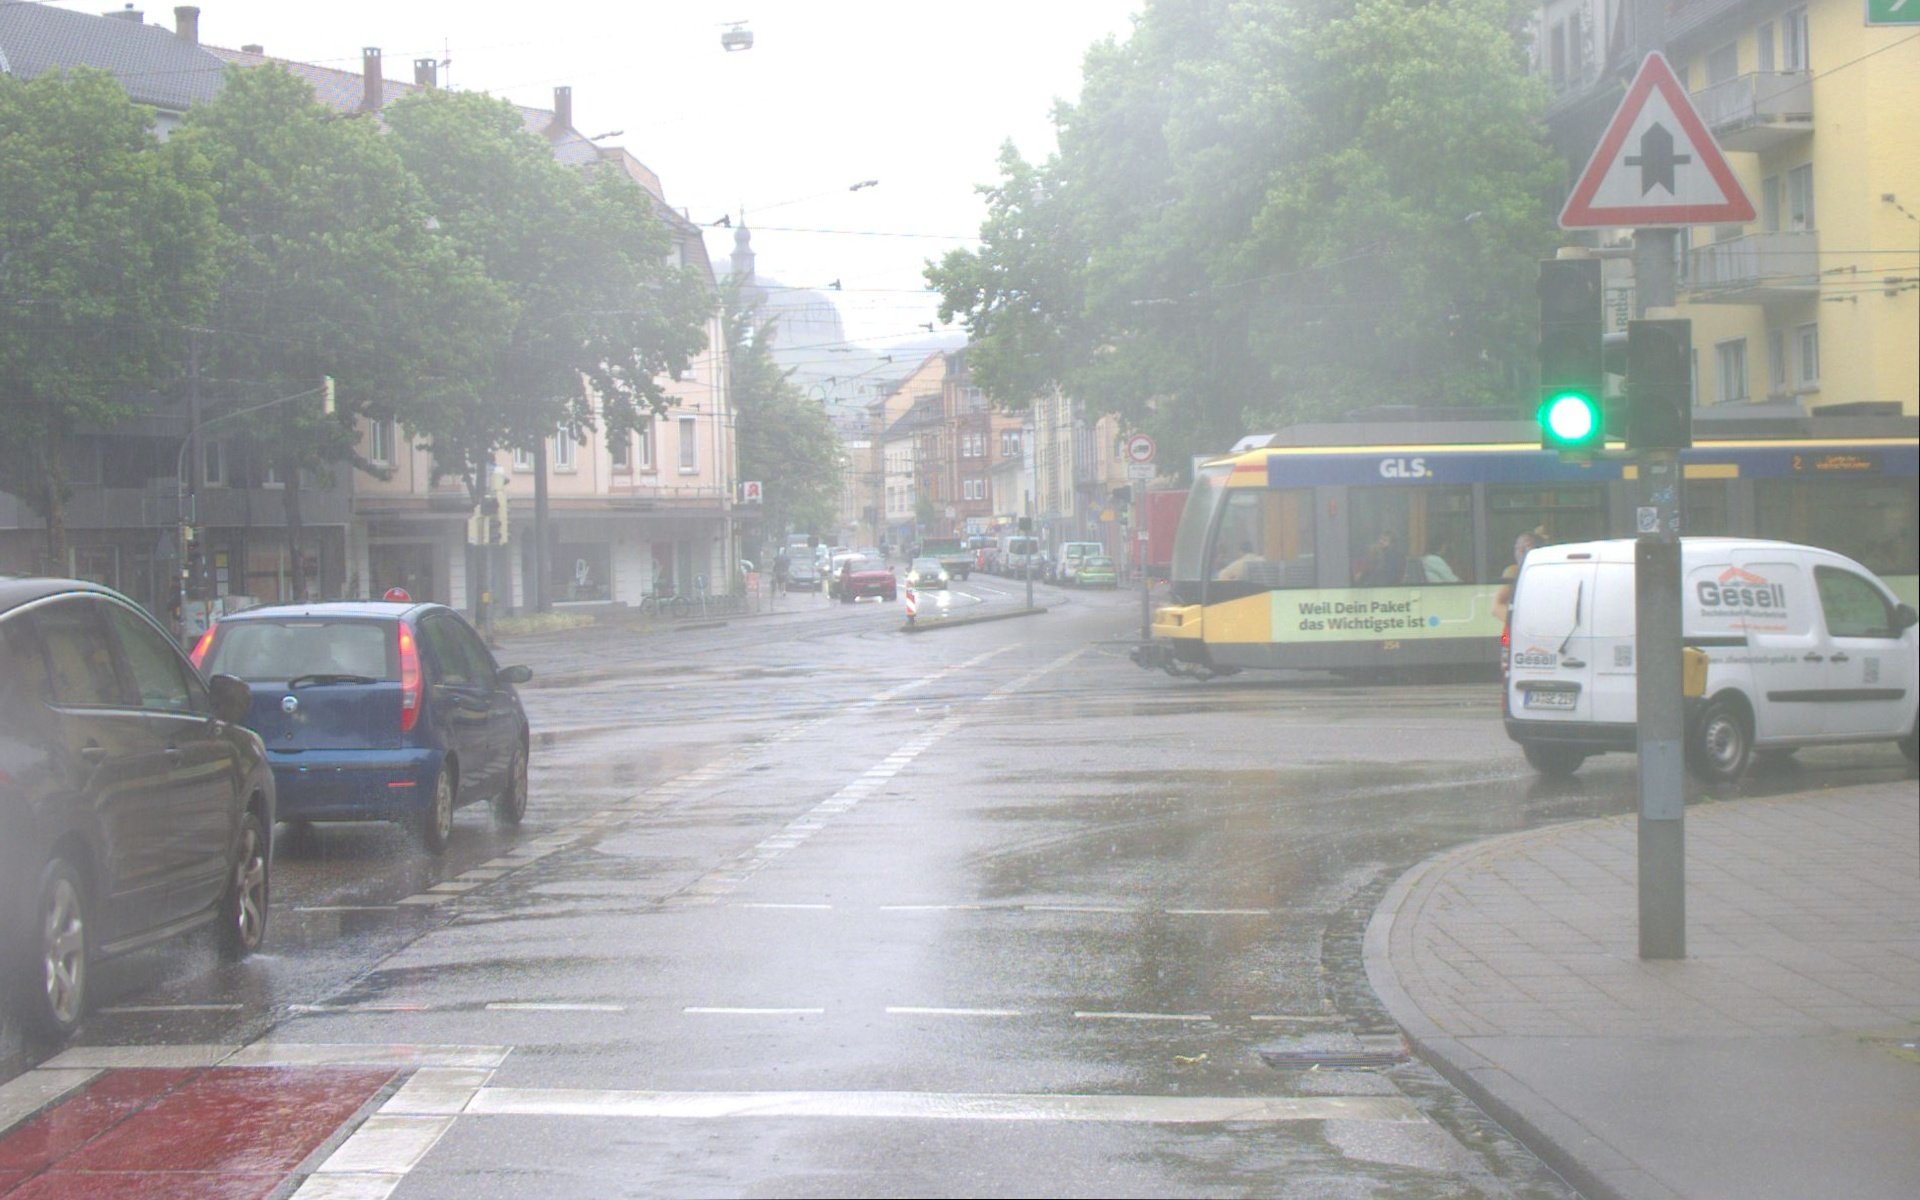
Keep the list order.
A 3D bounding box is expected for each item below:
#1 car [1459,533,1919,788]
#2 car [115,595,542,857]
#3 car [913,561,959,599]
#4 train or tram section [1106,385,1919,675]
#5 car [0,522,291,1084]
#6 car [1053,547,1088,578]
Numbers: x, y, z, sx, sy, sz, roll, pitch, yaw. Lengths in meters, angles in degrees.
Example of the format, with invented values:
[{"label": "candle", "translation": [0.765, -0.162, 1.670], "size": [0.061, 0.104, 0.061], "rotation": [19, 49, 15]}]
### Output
[{"label": "car", "translation": [5.964, 0.390, 26.548], "size": [4.101, 1.791, 1.909], "rotation": [-1, 2, -39]}, {"label": "car", "translation": [-3.754, 0.761, 21.083], "size": [1.882, 1.454, 3.831], "rotation": [0, -2, 0]}, {"label": "car", "translation": [-1.102, -0.900, 157.089], "size": [1.993, 1.683, 4.000], "rotation": [1, 0, -1]}, {"label": "train or tram section", "translation": [9.351, -0.972, 44.938], "size": [14.526, 3.546, 3.117], "rotation": [-1, 1, -10]}, {"label": "car", "translation": [-3.760, 0.568, 12.506], "size": [1.801, 1.703, 4.191], "rotation": [0, 1, 0]}, {"label": "car", "translation": [5.010, -1.681, 155.689], "size": [1.475, 1.358, 3.462], "rotation": [1, 0, 0]}]
